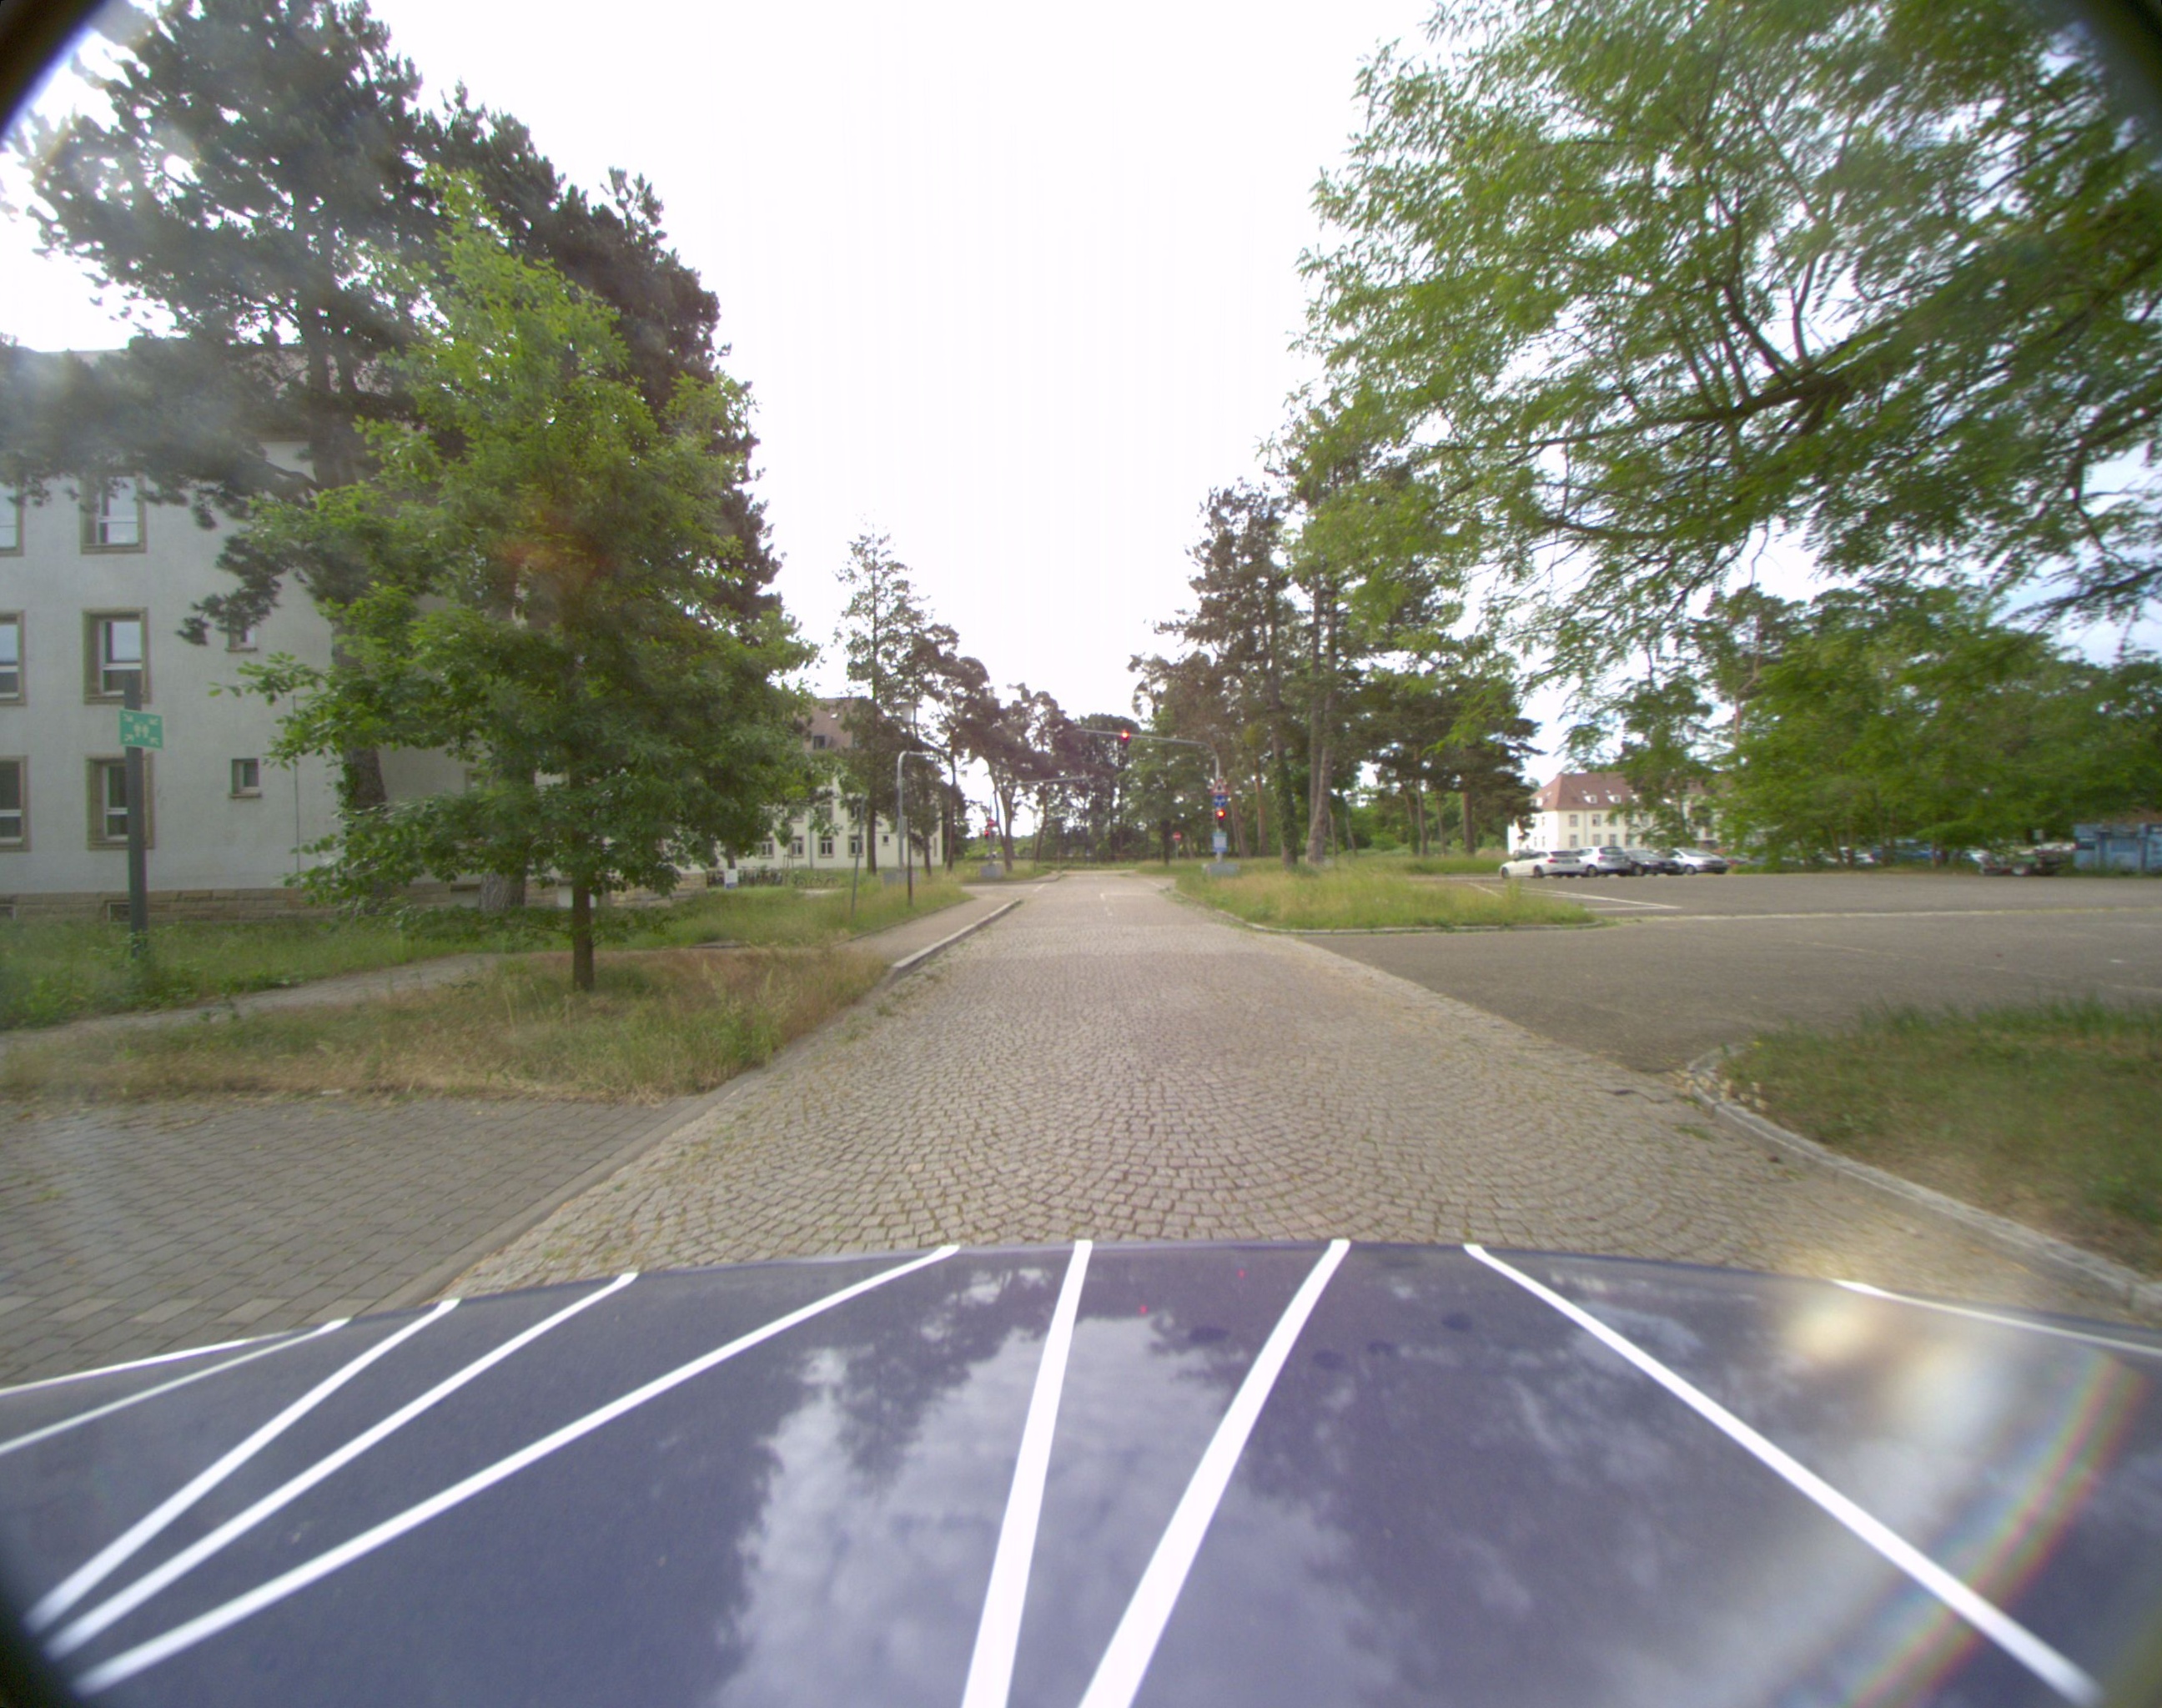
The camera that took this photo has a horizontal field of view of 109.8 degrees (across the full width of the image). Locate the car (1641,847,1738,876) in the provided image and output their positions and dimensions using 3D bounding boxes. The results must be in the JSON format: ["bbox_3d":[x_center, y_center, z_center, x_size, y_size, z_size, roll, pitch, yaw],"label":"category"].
[{"bbox_3d":[31.284,0.372,39.204,1.637,1.391,4.037,-1,0,-2],"label":"car"}]

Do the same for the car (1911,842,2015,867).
[{"bbox_3d":[56.744,0.029,48.992,1.829,1.466,4.189,-1,0,0],"label":"car"}]

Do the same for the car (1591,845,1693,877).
[{"bbox_3d":[28.460,0.337,38.739,1.829,1.466,4.401,-1,0,-2],"label":"car"}]

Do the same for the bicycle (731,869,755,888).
[{"bbox_3d":[-20.632,1.482,46.428,0.447,1.121,1.732,-1,0,9],"label":"bicycle"}]

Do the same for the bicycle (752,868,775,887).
[{"bbox_3d":[-19.364,1.417,46.400,0.447,1.121,1.703,-1,0,9],"label":"bicycle"}]

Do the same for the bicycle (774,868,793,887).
[{"bbox_3d":[-18.245,1.418,46.601,0.476,1.121,1.657,-1,0,0],"label":"bicycle"}]

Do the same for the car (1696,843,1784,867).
[{"bbox_3d":[43.092,0.081,49.826,1.829,1.466,4.401,-1,0,-2],"label":"car"}]

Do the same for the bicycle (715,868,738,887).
[{"bbox_3d":[-21.692,1.437,46.502,0.448,1.121,1.731,-1,0,4],"label":"bicycle"}]

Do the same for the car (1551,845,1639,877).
[{"bbox_3d":[25.832,0.391,38.347,1.674,1.510,3.899,-1,-2,-2],"label":"car"}]

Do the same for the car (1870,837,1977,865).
[{"bbox_3d":[54.189,-0.190,48.996,1.829,1.712,4.582,-1,0,0],"label":"car"}]

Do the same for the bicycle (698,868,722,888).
[{"bbox_3d":[-22.714,1.469,46.546,0.448,1.121,1.731,-1,0,4],"label":"bicycle"}]

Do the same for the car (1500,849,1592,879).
[{"bbox_3d":[23.325,0.482,38.316,1.829,1.417,4.319,-1,0,-2],"label":"car"}]

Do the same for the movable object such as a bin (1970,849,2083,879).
[{"bbox_3d":[32.397,0.334,26.084,1.447,0.963,1.957,-1,0,-7],"label":"movable object such as a bin"}]

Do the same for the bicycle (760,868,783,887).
[{"bbox_3d":[-18.871,1.418,46.372,0.476,1.121,1.704,-1,0,9],"label":"bicycle"}]

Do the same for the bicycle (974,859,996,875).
[{"bbox_3d":[-6.678,0.891,52.967,0.613,1.079,1.660,-1,0,32],"label":"bicycle"}]

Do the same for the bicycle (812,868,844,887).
[{"bbox_3d":[-14.991,1.385,45.082,1.656,1.079,0.614,-1,0,-3],"label":"bicycle"}]

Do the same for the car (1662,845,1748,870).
[{"bbox_3d":[40.538,0.220,49.505,1.829,1.466,4.401,-1,0,-2],"label":"car"}]

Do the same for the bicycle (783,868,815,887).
[{"bbox_3d":[-16.692,1.366,44.952,1.655,1.079,0.615,-1,0,3],"label":"bicycle"}]

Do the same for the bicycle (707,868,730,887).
[{"bbox_3d":[-22.174,1.440,46.535,0.448,1.121,1.731,-1,0,4],"label":"bicycle"}]

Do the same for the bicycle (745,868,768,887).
[{"bbox_3d":[-19.840,1.440,46.469,0.447,1.121,1.732,-1,0,9],"label":"bicycle"}]

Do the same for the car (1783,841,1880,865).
[{"bbox_3d":[48.924,-0.066,49.685,1.830,1.466,4.401,-1,0,-4],"label":"car"}]

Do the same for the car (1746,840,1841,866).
[{"bbox_3d":[45.990,-0.067,49.185,1.830,1.466,4.401,-3,0,-4],"label":"car"}]
